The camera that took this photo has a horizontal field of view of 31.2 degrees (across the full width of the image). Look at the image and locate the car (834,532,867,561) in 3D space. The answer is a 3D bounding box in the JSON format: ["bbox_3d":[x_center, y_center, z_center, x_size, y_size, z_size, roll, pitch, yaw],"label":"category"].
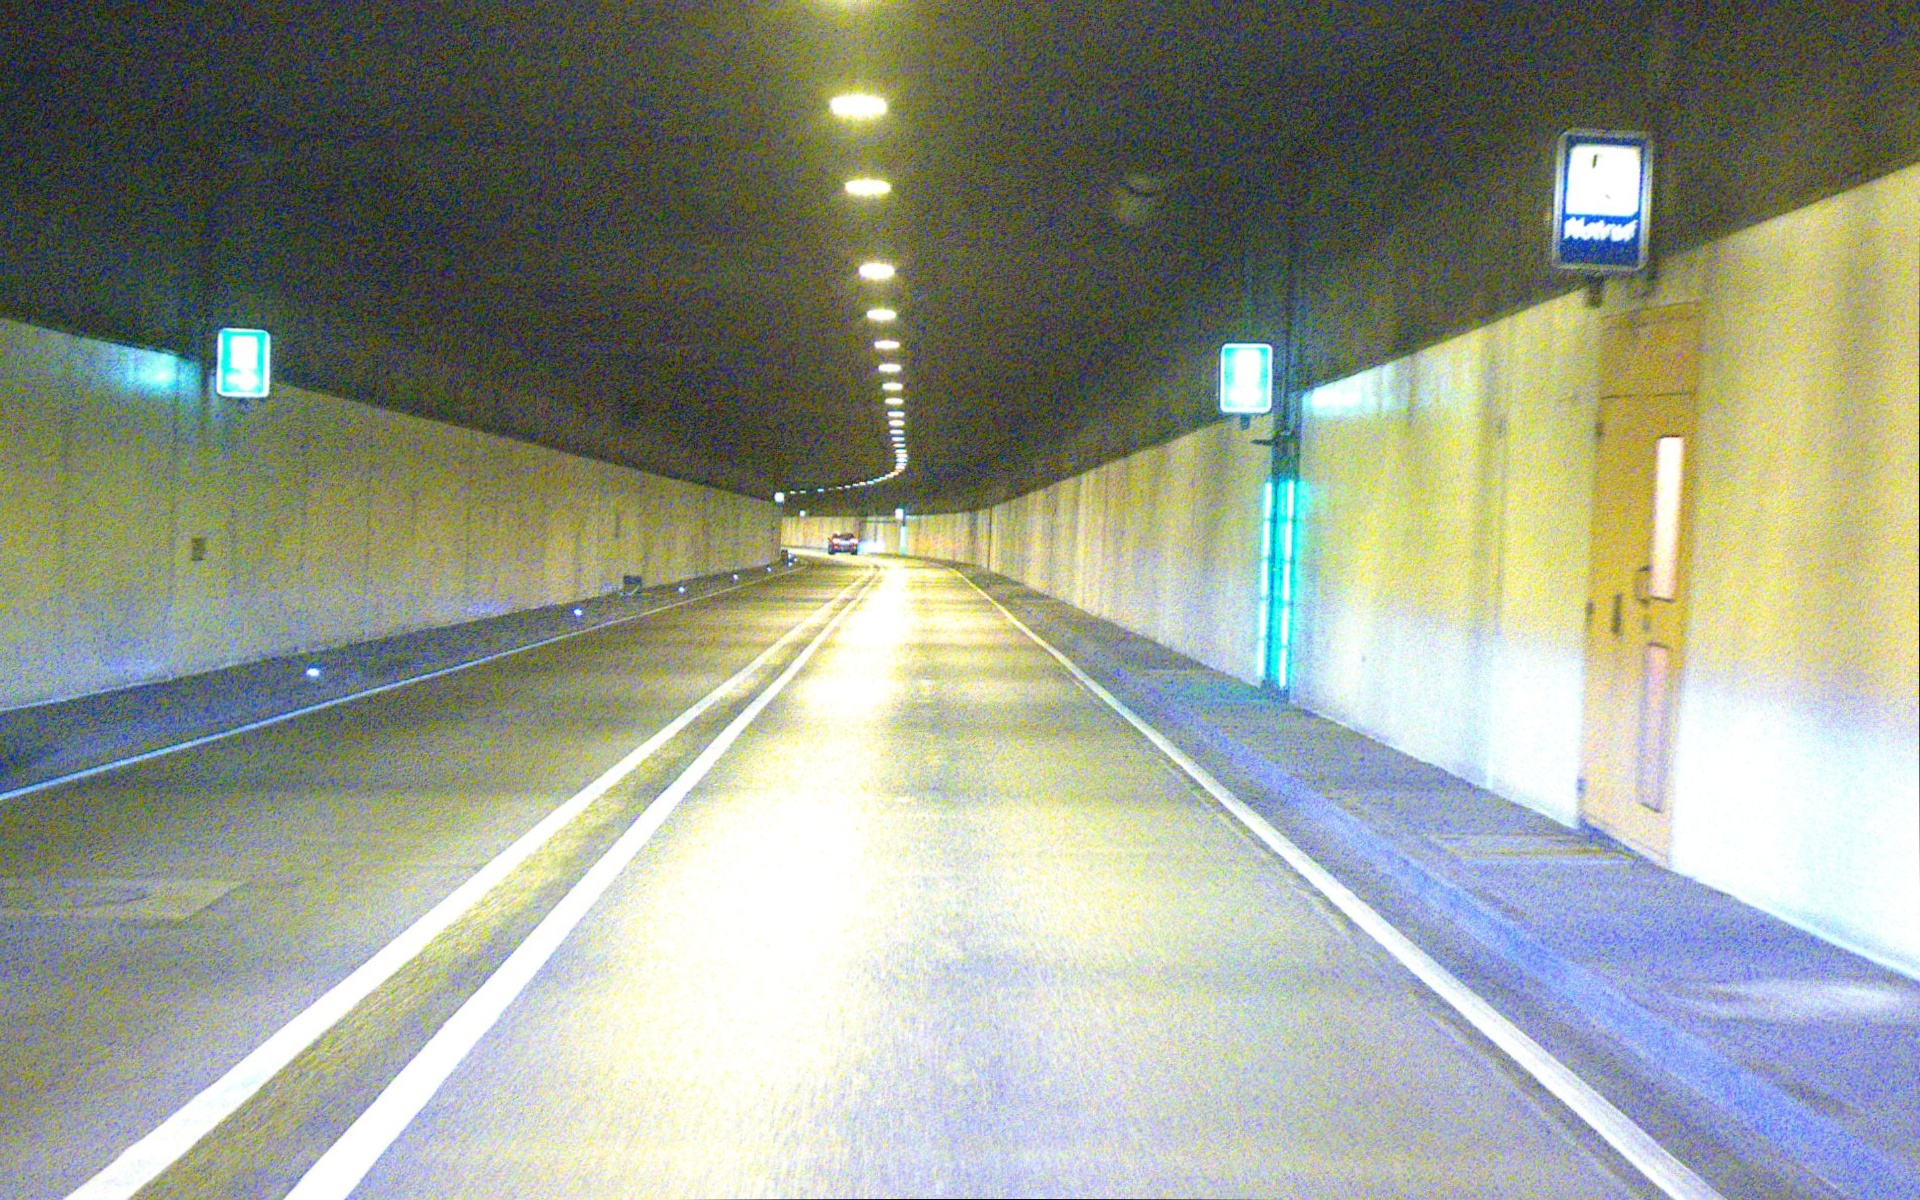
[{"bbox_3d":[-7.735,-3.762,242.490,1.966,1.932,4.613,2,0,-5],"label":"car"}]
